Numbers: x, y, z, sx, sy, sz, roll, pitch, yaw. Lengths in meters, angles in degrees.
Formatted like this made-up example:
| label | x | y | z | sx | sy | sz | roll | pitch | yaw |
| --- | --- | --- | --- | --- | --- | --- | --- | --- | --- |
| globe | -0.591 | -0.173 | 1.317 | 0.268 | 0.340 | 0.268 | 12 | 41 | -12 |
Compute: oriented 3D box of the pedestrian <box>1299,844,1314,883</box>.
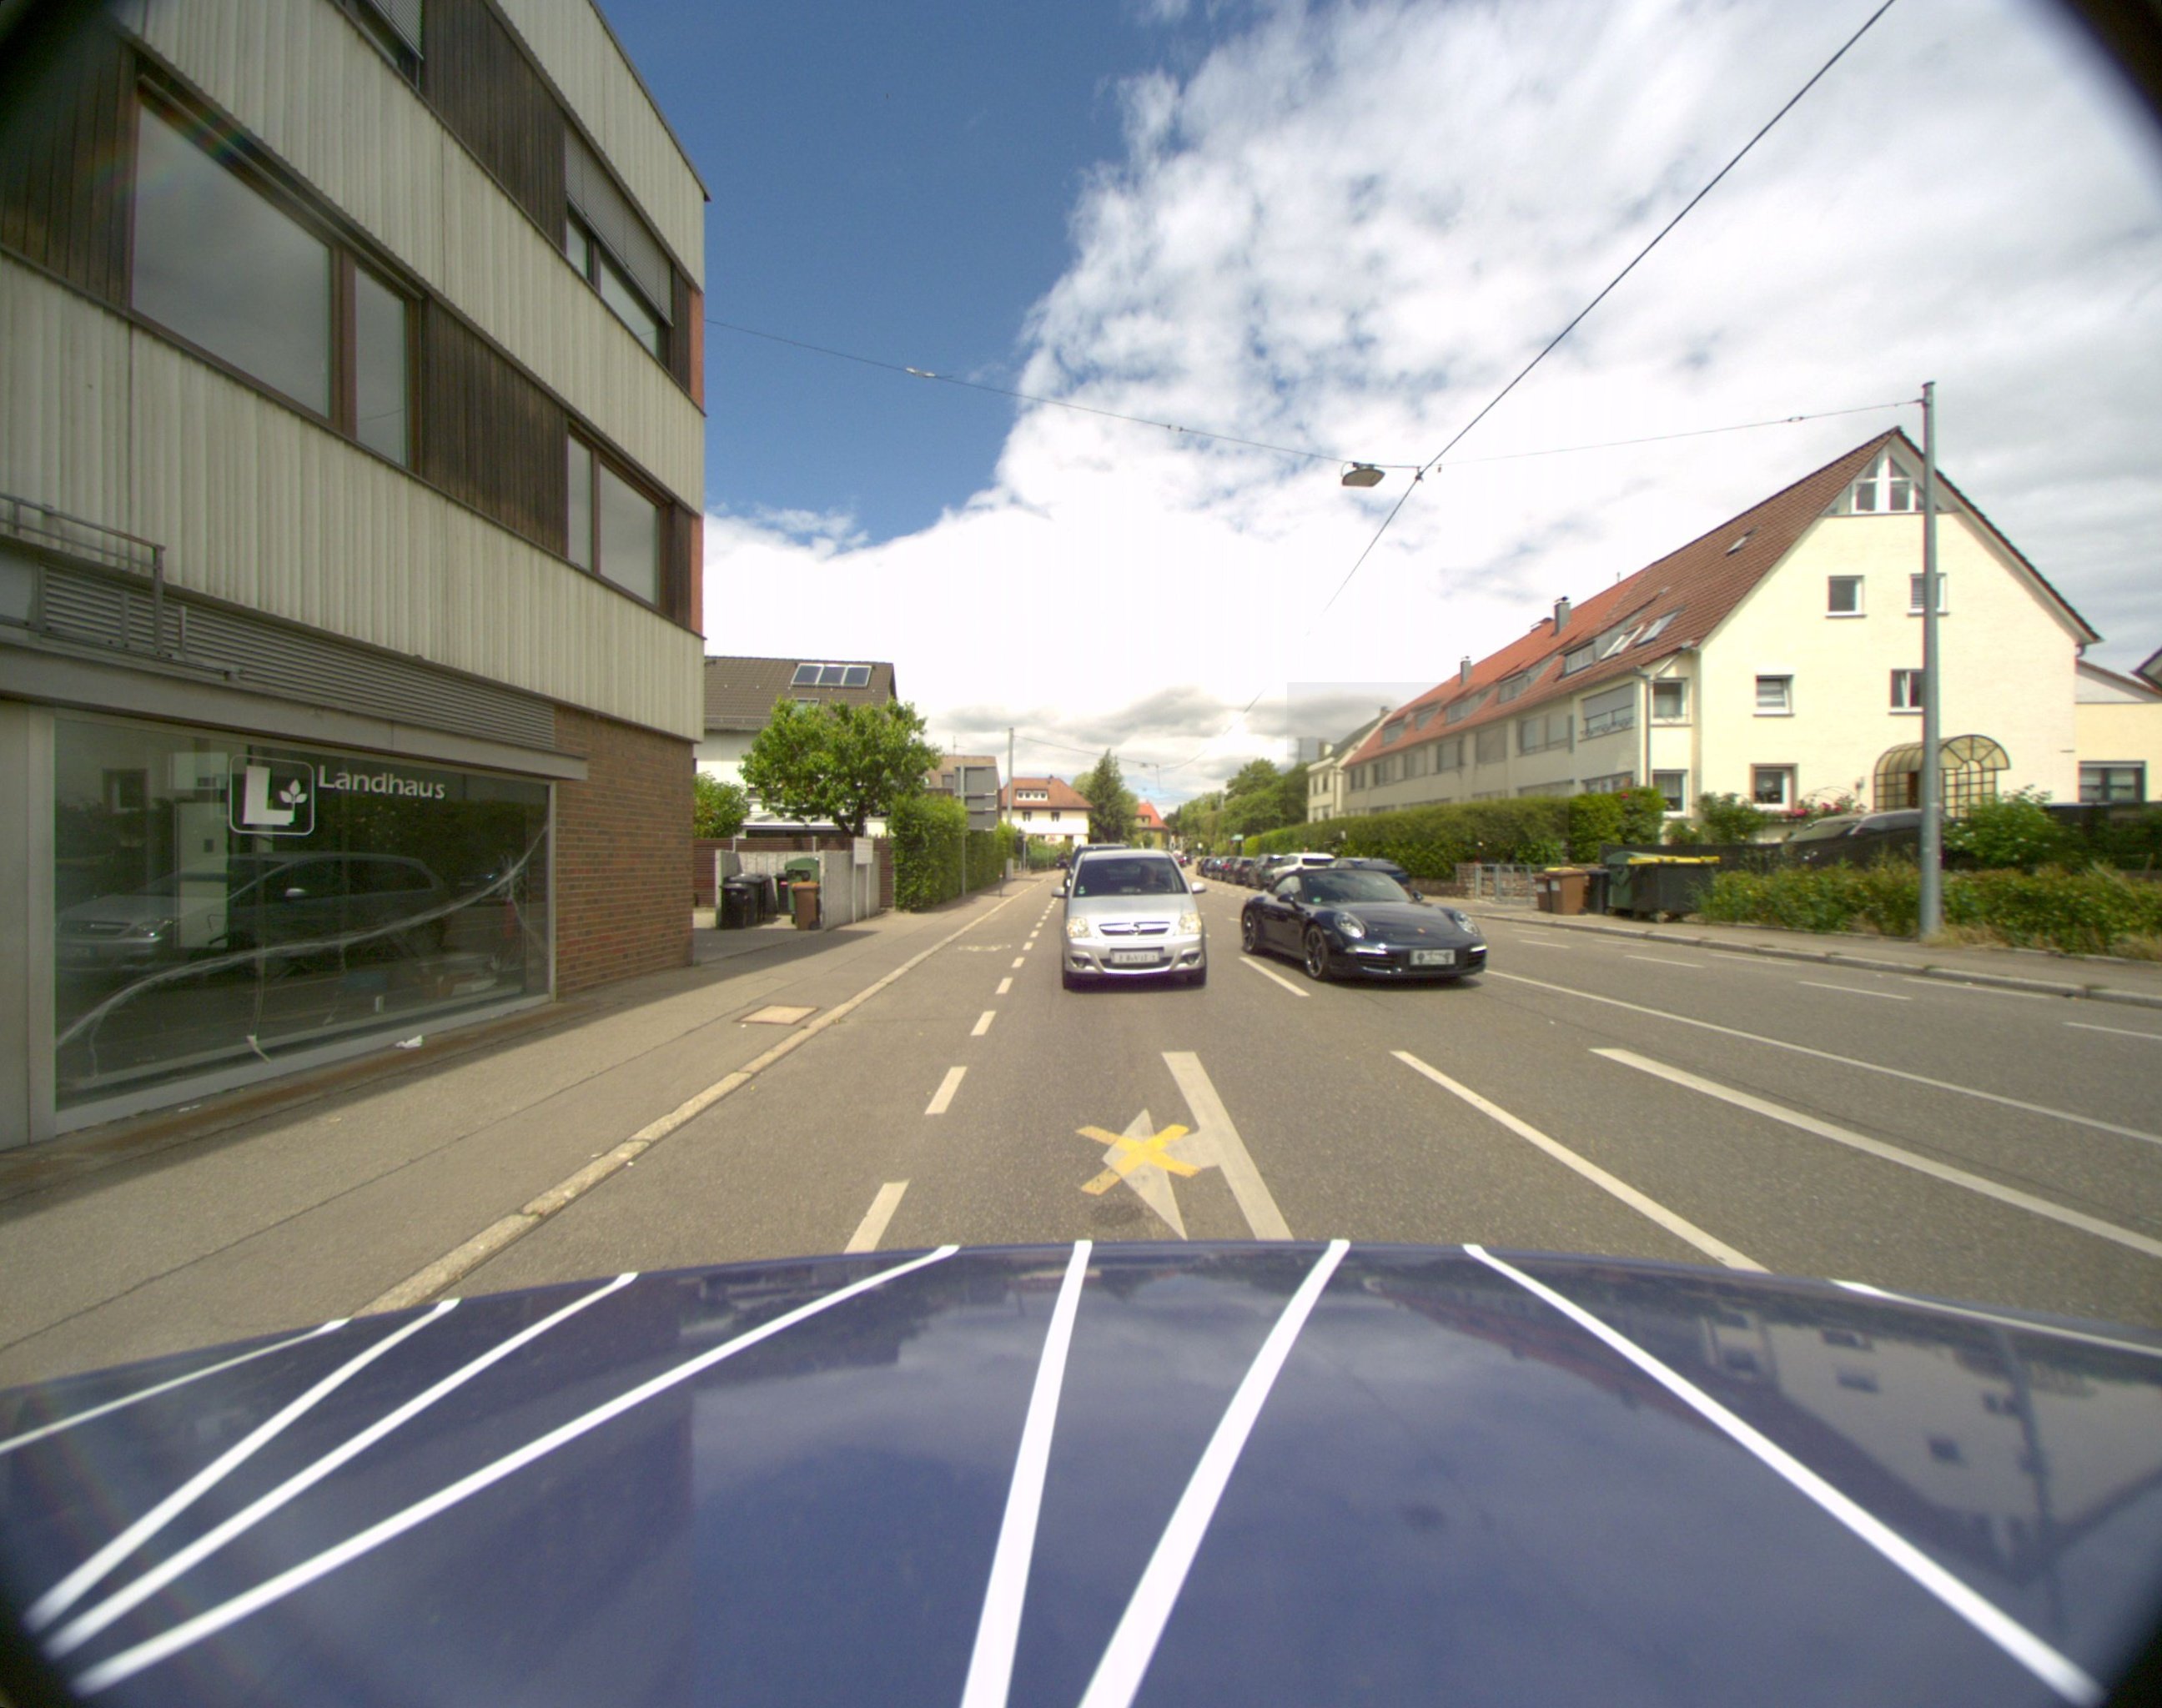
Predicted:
| label | x | y | z | sx | sy | sz | roll | pitch | yaw |
| --- | --- | --- | --- | --- | --- | --- | --- | --- | --- |
| pedestrian | 10.358 | 0.427 | 34.901 | 0.533 | 1.805 | 0.511 | -1 | 1 | -4 |

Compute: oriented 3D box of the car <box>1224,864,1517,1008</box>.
| label | x | y | z | sx | sy | sz | roll | pitch | yaw |
| --- | --- | --- | --- | --- | --- | --- | --- | --- | --- |
| car | 3.382 | 0.856 | 9.813 | 1.816 | 1.356 | 4.041 | -1 | 0 | -8 |

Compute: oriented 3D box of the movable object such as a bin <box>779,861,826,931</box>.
| label | x | y | z | sx | sy | sz | roll | pitch | yaw |
| --- | --- | --- | --- | --- | --- | --- | --- | --- | --- |
| movable object such as a bin | -5.896 | 0.875 | 16.112 | 0.809 | 1.446 | 0.479 | -1 | 1 | -4 |

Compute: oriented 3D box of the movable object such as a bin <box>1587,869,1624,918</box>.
| label | x | y | z | sx | sy | sz | roll | pitch | yaw |
| --- | --- | --- | --- | --- | --- | --- | --- | --- | --- |
| movable object such as a bin | 12.031 | 0.894 | 17.435 | 0.657 | 1.059 | 0.522 | -2 | 1 | -39 |

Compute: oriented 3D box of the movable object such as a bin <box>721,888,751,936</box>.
| label | x | y | z | sx | sy | sz | roll | pitch | yaw |
| --- | --- | --- | --- | --- | --- | --- | --- | --- | --- |
| movable object such as a bin | -6.970 | 1.157 | 15.362 | 0.519 | 0.916 | 0.478 | -1 | 1 | -24 |

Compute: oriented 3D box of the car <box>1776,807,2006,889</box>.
| label | x | y | z | sx | sy | sz | roll | pitch | yaw |
| --- | --- | --- | --- | --- | --- | --- | --- | --- | --- |
| car | 21.526 | -0.165 | 20.333 | 3.997 | 2.002 | 2.000 | -1 | 1 | 0 |

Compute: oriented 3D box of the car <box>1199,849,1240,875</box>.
| label | x | y | z | sx | sy | sz | roll | pitch | yaw |
| --- | --- | --- | --- | --- | --- | --- | --- | --- | --- |
| car | 9.313 | 0.516 | 51.360 | 1.998 | 1.623 | 4.236 | -1 | 0 | 0 |

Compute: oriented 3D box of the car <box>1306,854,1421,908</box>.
| label | x | y | z | sx | sy | sz | roll | pitch | yaw |
| --- | --- | --- | --- | --- | --- | --- | --- | --- | --- |
| car | 8.736 | 0.770 | 23.935 | 1.819 | 1.493 | 4.452 | -1 | 0 | -2 |

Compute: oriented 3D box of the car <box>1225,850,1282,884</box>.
| label | x | y | z | sx | sy | sz | roll | pitch | yaw |
| --- | --- | --- | --- | --- | --- | --- | --- | --- | --- |
| car | 8.928 | 0.629 | 39.642 | 1.998 | 1.623 | 4.236 | 0 | 0 | 0 |

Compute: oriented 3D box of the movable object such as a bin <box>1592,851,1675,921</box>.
| label | x | y | z | sx | sy | sz | roll | pitch | yaw |
| --- | --- | --- | --- | --- | --- | --- | --- | --- | --- |
| movable object such as a bin | 11.965 | 0.674 | 16.487 | 1.092 | 1.438 | 0.980 | -1 | 1 | 0 |

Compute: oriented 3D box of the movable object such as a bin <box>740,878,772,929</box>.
| label | x | y | z | sx | sy | sz | roll | pitch | yaw |
| --- | --- | --- | --- | --- | --- | --- | --- | --- | --- |
| movable object such as a bin | -7.056 | 1.060 | 16.496 | 0.596 | 1.069 | 0.488 | -1 | 1 | -24 |

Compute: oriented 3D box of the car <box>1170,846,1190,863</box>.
| label | x | y | z | sx | sy | sz | roll | pitch | yaw |
| --- | --- | --- | --- | --- | --- | --- | --- | --- | --- |
| car | 11.608 | 0.027 | 88.628 | 1.997 | 1.903 | 4.072 | -1 | 1 | 11 |

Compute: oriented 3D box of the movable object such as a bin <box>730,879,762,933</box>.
| label | x | y | z | sx | sy | sz | roll | pitch | yaw |
| --- | --- | --- | --- | --- | --- | --- | --- | --- | --- |
| movable object such as a bin | -7.006 | 1.074 | 15.898 | 0.596 | 1.069 | 0.488 | -1 | 1 | -24 |

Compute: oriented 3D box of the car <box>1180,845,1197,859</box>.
| label | x | y | z | sx | sy | sz | roll | pitch | yaw |
| --- | --- | --- | --- | --- | --- | --- | --- | --- | --- |
| car | 14.723 | -0.305 | 103.812 | 1.997 | 1.903 | 4.072 | -1 | 1 | 11 |

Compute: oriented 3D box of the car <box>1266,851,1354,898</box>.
| label | x | y | z | sx | sy | sz | roll | pitch | yaw |
| --- | --- | --- | --- | --- | --- | --- | --- | --- | --- |
| car | 8.601 | 0.717 | 28.957 | 1.998 | 1.623 | 4.453 | -1 | 0 | 0 |

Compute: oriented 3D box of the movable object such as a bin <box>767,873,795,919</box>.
| label | x | y | z | sx | sy | sz | roll | pitch | yaw |
| --- | --- | --- | --- | --- | --- | --- | --- | --- | --- |
| movable object such as a bin | -7.278 | 1.020 | 18.458 | 0.596 | 1.069 | 0.488 | -1 | 1 | -19 |

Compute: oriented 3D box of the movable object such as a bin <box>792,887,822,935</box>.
| label | x | y | z | sx | sy | sz | roll | pitch | yaw |
| --- | --- | --- | --- | --- | --- | --- | --- | --- | --- |
| movable object such as a bin | -5.476 | 1.129 | 15.203 | 0.519 | 0.916 | 0.478 | -1 | 1 | -18 |

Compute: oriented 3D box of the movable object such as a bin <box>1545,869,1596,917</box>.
| label | x | y | z | sx | sy | sz | roll | pitch | yaw |
| --- | --- | --- | --- | --- | --- | --- | --- | --- | --- |
| movable object such as a bin | 11.307 | 0.891 | 17.582 | 0.763 | 1.059 | 0.693 | -1 | 1 | 7 |

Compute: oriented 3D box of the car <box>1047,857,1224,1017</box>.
| label | x | y | z | sx | sy | sz | roll | pitch | yaw |
| --- | --- | --- | --- | --- | --- | --- | --- | --- | --- |
| car | 0.576 | 0.853 | 9.751 | 1.774 | 1.566 | 4.001 | -1 | 0 | 0 |

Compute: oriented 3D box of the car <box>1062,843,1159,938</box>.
| label | x | y | z | sx | sy | sz | roll | pitch | yaw |
| --- | --- | --- | --- | --- | --- | --- | --- | --- | --- |
| car | 0.525 | 0.706 | 17.694 | 1.887 | 1.838 | 5.219 | -1 | 0 | -1 |

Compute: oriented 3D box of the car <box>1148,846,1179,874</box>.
| label | x | y | z | sx | sy | sz | roll | pitch | yaw |
| --- | --- | --- | --- | --- | --- | --- | --- | --- | --- |
| car | 6.003 | 0.411 | 55.720 | 1.998 | 1.903 | 4.069 | -1 | 0 | 2 |

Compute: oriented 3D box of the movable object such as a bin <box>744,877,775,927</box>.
| label | x | y | z | sx | sy | sz | roll | pitch | yaw |
| --- | --- | --- | --- | --- | --- | --- | --- | --- | --- |
| movable object such as a bin | -7.204 | 1.061 | 17.033 | 0.596 | 1.069 | 0.488 | -1 | 1 | -24 |

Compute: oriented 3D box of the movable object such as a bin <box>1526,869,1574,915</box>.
| label | x | y | z | sx | sy | sz | roll | pitch | yaw |
| --- | --- | --- | --- | --- | --- | --- | --- | --- | --- |
| movable object such as a bin | 11.306 | 0.903 | 18.333 | 0.763 | 1.059 | 0.693 | -1 | 1 | 7 |

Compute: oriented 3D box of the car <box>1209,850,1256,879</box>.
| label | x | y | z | sx | sy | sz | roll | pitch | yaw |
| --- | --- | --- | --- | --- | --- | --- | --- | --- | --- |
| car | 8.982 | 0.591 | 45.324 | 1.998 | 1.623 | 4.236 | -1 | 0 | 0 |

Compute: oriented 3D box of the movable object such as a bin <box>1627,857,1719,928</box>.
| label | x | y | z | sx | sy | sz | roll | pitch | yaw |
| --- | --- | --- | --- | --- | --- | --- | --- | --- | --- |
| movable object such as a bin | 11.888 | 0.753 | 15.296 | 1.092 | 1.354 | 0.980 | -1 | 1 | 0 |

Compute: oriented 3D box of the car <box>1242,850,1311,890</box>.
| label | x | y | z | sx | sy | sz | roll | pitch | yaw |
| --- | --- | --- | --- | --- | --- | --- | --- | --- | --- |
| car | 8.728 | 0.670 | 34.290 | 1.998 | 1.623 | 4.236 | -1 | 0 | 0 |
